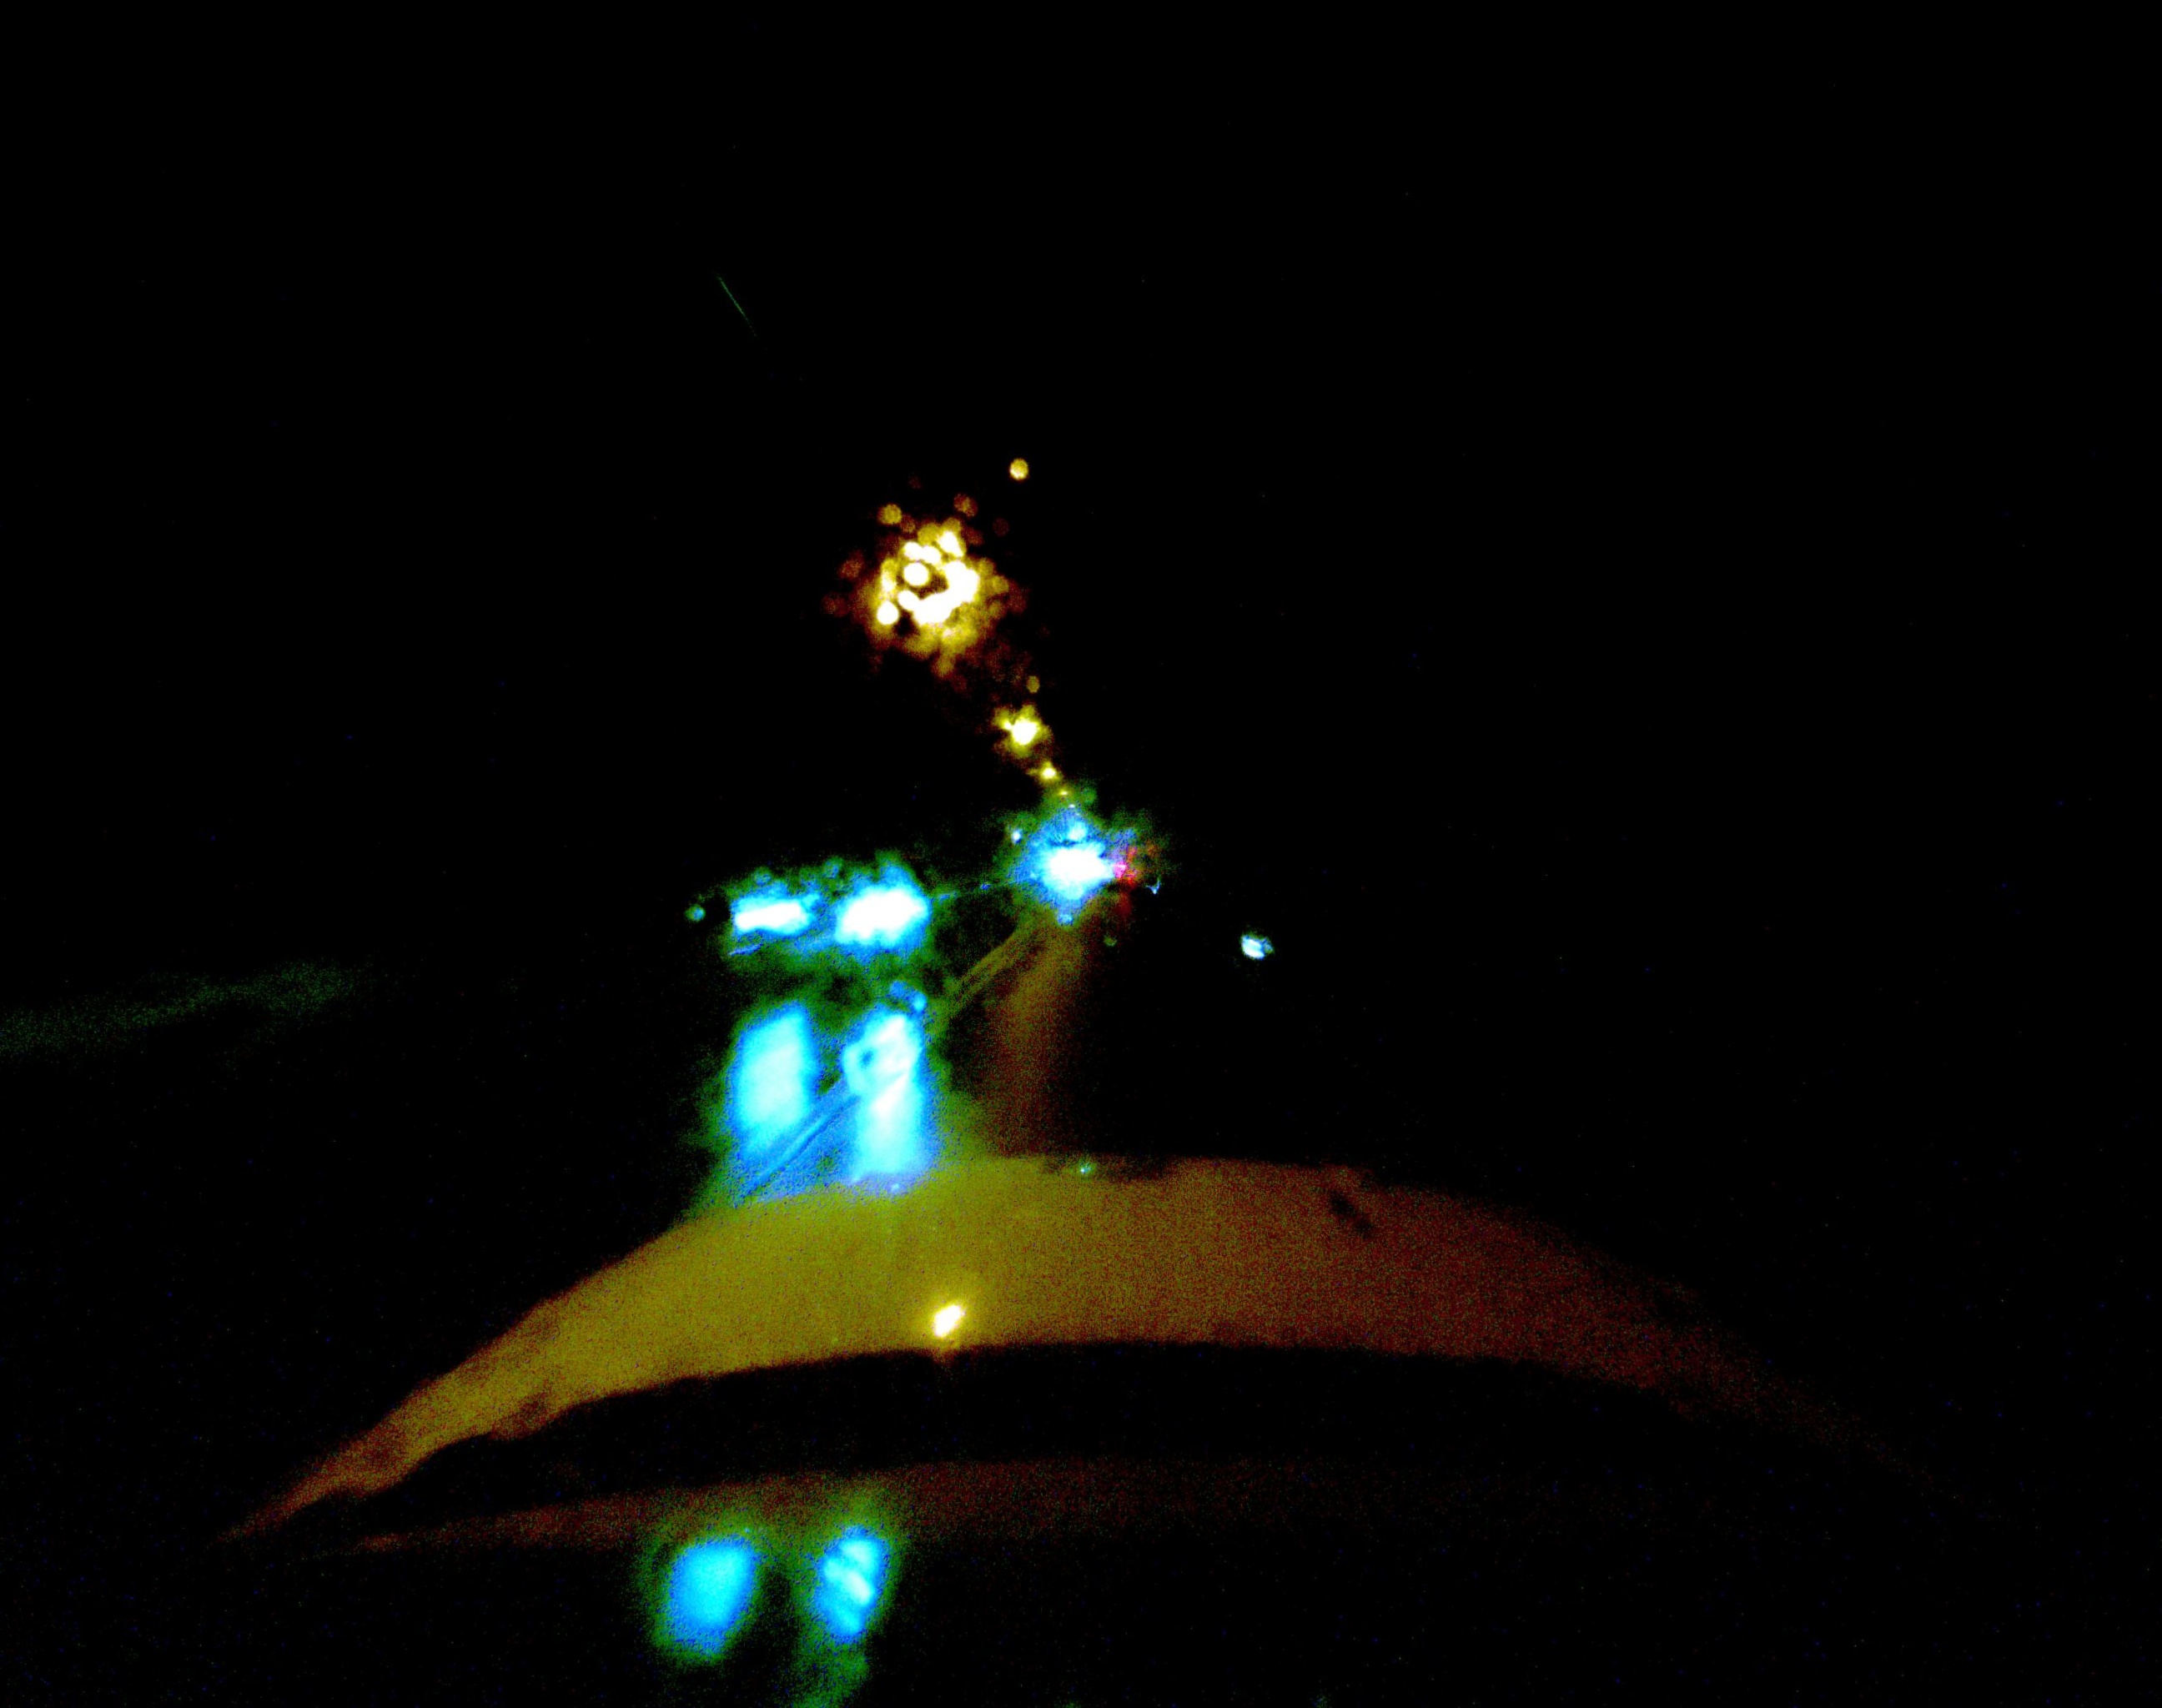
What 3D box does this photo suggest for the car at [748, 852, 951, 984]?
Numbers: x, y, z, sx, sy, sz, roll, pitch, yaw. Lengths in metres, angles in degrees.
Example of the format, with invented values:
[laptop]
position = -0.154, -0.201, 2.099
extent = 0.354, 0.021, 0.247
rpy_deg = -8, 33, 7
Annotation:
[car]
position = -3.192, 0.807, 12.099
extent = 1.742, 1.584, 4.001
rpy_deg = -2, 0, 2

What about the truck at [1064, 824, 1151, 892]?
[truck]
position = 1.278, 0.171, 38.727
extent = 3.522, 2.693, 8.960
rpy_deg = -3, 0, 2
